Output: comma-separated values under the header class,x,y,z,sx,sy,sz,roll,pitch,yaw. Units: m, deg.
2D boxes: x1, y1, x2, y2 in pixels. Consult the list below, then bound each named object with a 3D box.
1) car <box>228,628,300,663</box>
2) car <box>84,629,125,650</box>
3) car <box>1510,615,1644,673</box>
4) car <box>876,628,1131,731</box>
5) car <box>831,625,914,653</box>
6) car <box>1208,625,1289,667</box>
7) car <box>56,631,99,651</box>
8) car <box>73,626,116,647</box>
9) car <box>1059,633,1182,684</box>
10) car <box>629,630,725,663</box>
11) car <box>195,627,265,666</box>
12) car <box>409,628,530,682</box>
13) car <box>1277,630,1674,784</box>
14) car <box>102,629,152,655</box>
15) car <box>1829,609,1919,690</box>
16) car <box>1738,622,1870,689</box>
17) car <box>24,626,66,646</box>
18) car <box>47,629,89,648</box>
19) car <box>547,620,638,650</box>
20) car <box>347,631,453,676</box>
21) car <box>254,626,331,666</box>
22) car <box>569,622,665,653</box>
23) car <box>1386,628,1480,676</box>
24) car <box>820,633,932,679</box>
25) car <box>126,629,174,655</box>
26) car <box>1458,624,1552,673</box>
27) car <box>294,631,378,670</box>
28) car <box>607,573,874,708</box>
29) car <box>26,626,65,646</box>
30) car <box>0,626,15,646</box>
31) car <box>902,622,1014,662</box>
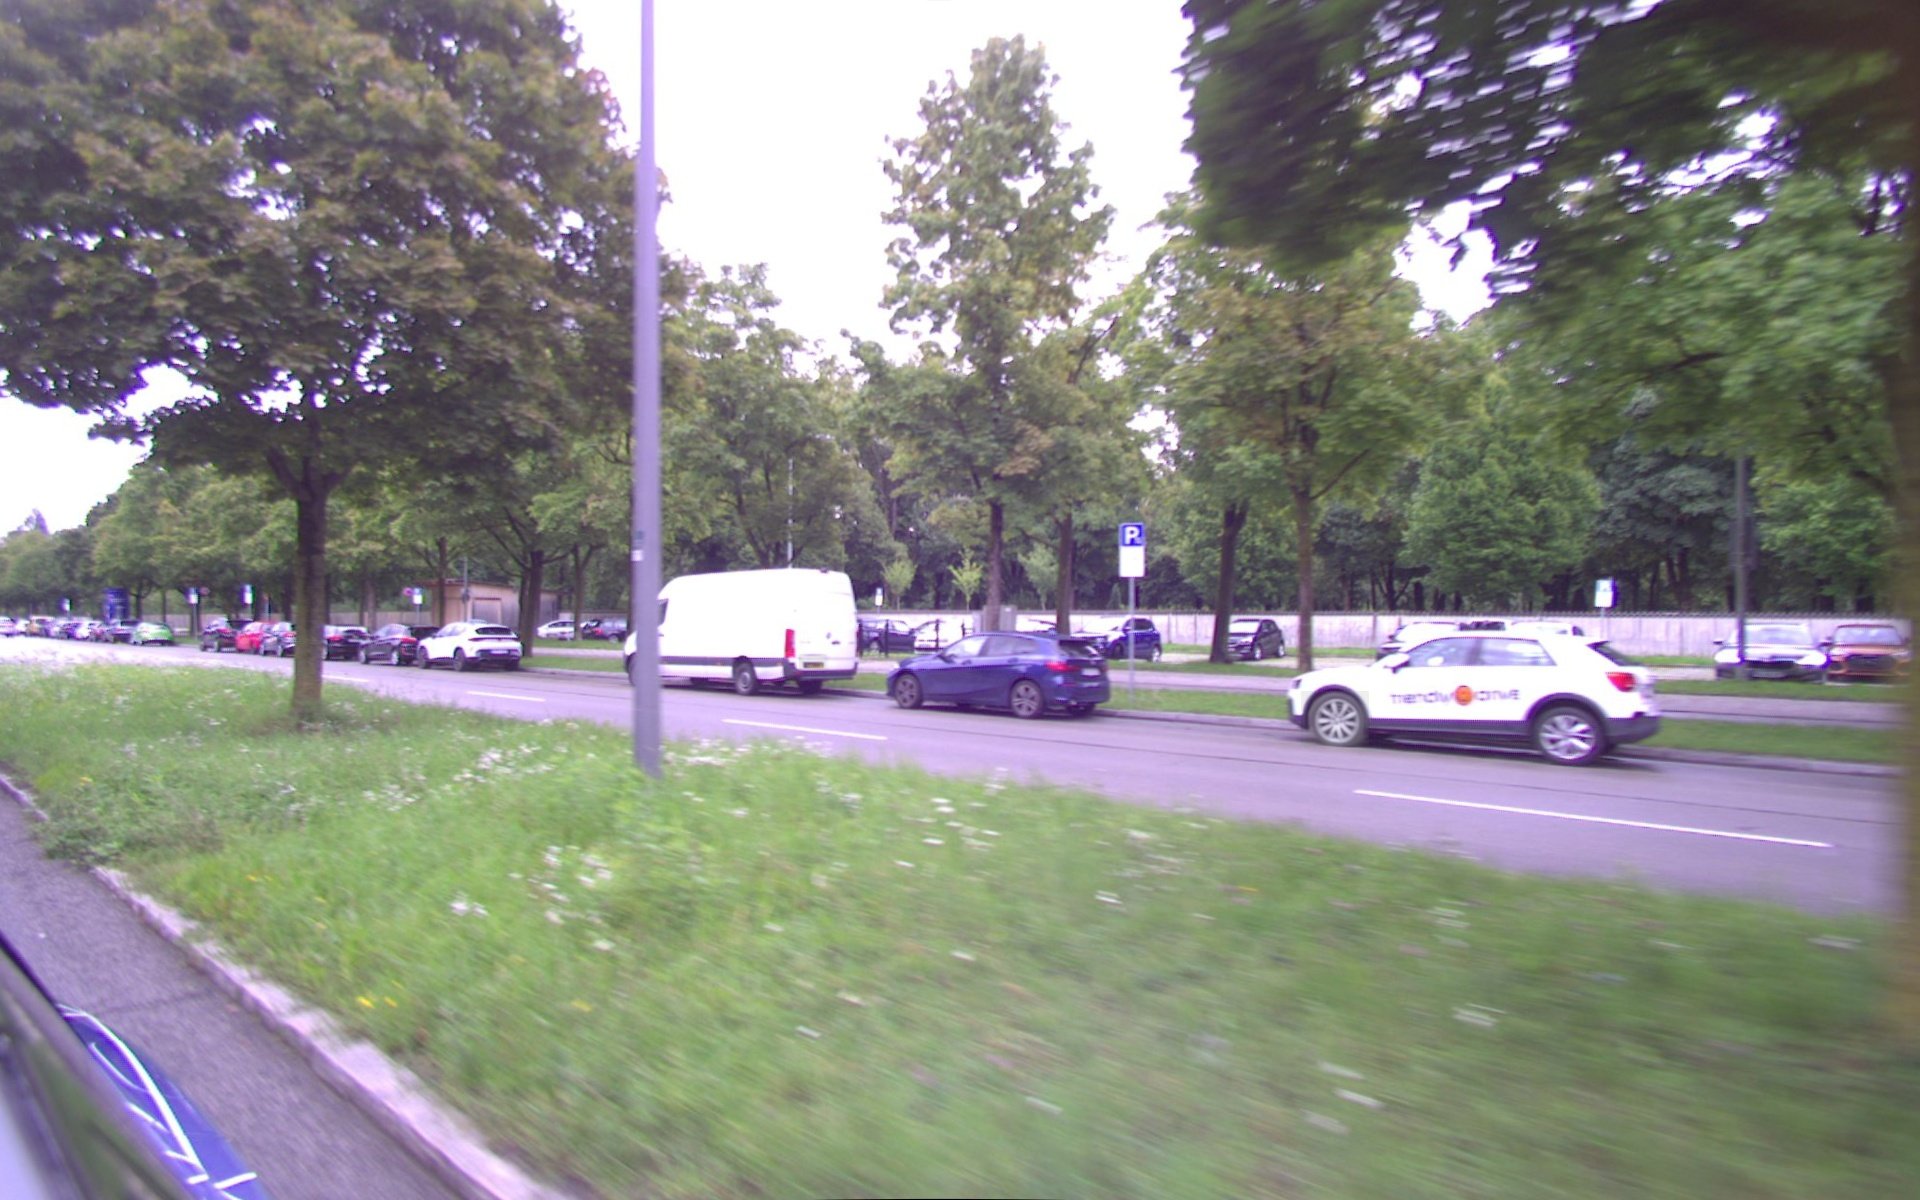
class,x,y,z,sx,sy,sz,roll,pitch,yaw
car,-32.349,2.079,47.037,3.807,1.490,1.803,0,-1,40
car,-59.936,2.756,70.899,3.686,1.433,1.632,-2,-4,42
car,14.117,0.968,23.066,1.784,1.219,3.942,-2,-2,44
car,0.683,1.292,17.802,4.248,1.502,1.838,0,-1,40
car,-4.766,2.113,55.631,1.999,1.453,4.459,-1,-2,40
car,11.679,1.820,40.829,1.768,1.608,3.947,-1,-2,39
car,-68.033,3.188,77.983,3.784,1.457,1.803,-1,-4,39
car,-63.795,2.690,74.580,4.258,1.488,1.802,-2,-4,42
car,5.054,1.778,31.616,3.941,1.449,1.816,1,-2,-45
car,-13.201,2.143,47.394,1.996,1.453,3.952,-1,-1,35
car,-35.975,2.252,49.863,4.236,1.712,1.803,0,-1,40
car,-15.563,1.705,32.042,4.295,1.539,1.803,0,-2,40
car,6.332,1.186,12.664,4.139,1.502,1.838,0,-1,40
car,-55.439,2.773,67.303,4.454,1.643,1.802,-1,-3,41
car,25.916,1.319,28.578,1.999,2.050,4.460,-1,0,40
car,17.363,1.077,20.760,1.784,1.219,4.127,-2,-2,44
car,-77.151,3.026,85.358,4.037,1.628,1.982,-1,-3,39
car,-72.320,3.111,82.019,4.296,1.481,1.803,-1,-3,39
car,-18.963,1.770,52.310,1.999,1.453,3.945,-1,-2,41
car,-19.665,1.841,35.478,3.994,1.459,1.804,-1,-3,38
car,-28.682,1.938,43.430,4.112,1.611,1.802,-1,-2,42
car,-16.935,1.810,50.060,1.998,1.453,4.095,-1,-1,38
car,16.964,1.805,36.245,3.941,1.608,1.771,1,-2,-45
car,-3.050,2.016,37.278,1.814,1.582,3.944,-1,-2,42
car,-49.179,2.539,61.436,3.999,1.511,1.623,-2,-4,42
car,18.851,1.621,34.960,3.941,1.608,1.771,1,-2,-45
car,-24.577,1.973,39.819,4.000,1.420,1.801,-1,-3,43
car,-5.189,0.918,23.032,7.101,2.664,2.117,-2,-3,41
car,-81.539,3.191,90.184,4.529,1.784,1.839,-1,-3,39
car,-80.821,3.021,84.888,4.400,1.612,1.831,-1,-4,41
car,-0.026,1.480,36.322,1.815,1.349,3.943,-1,-2,43
